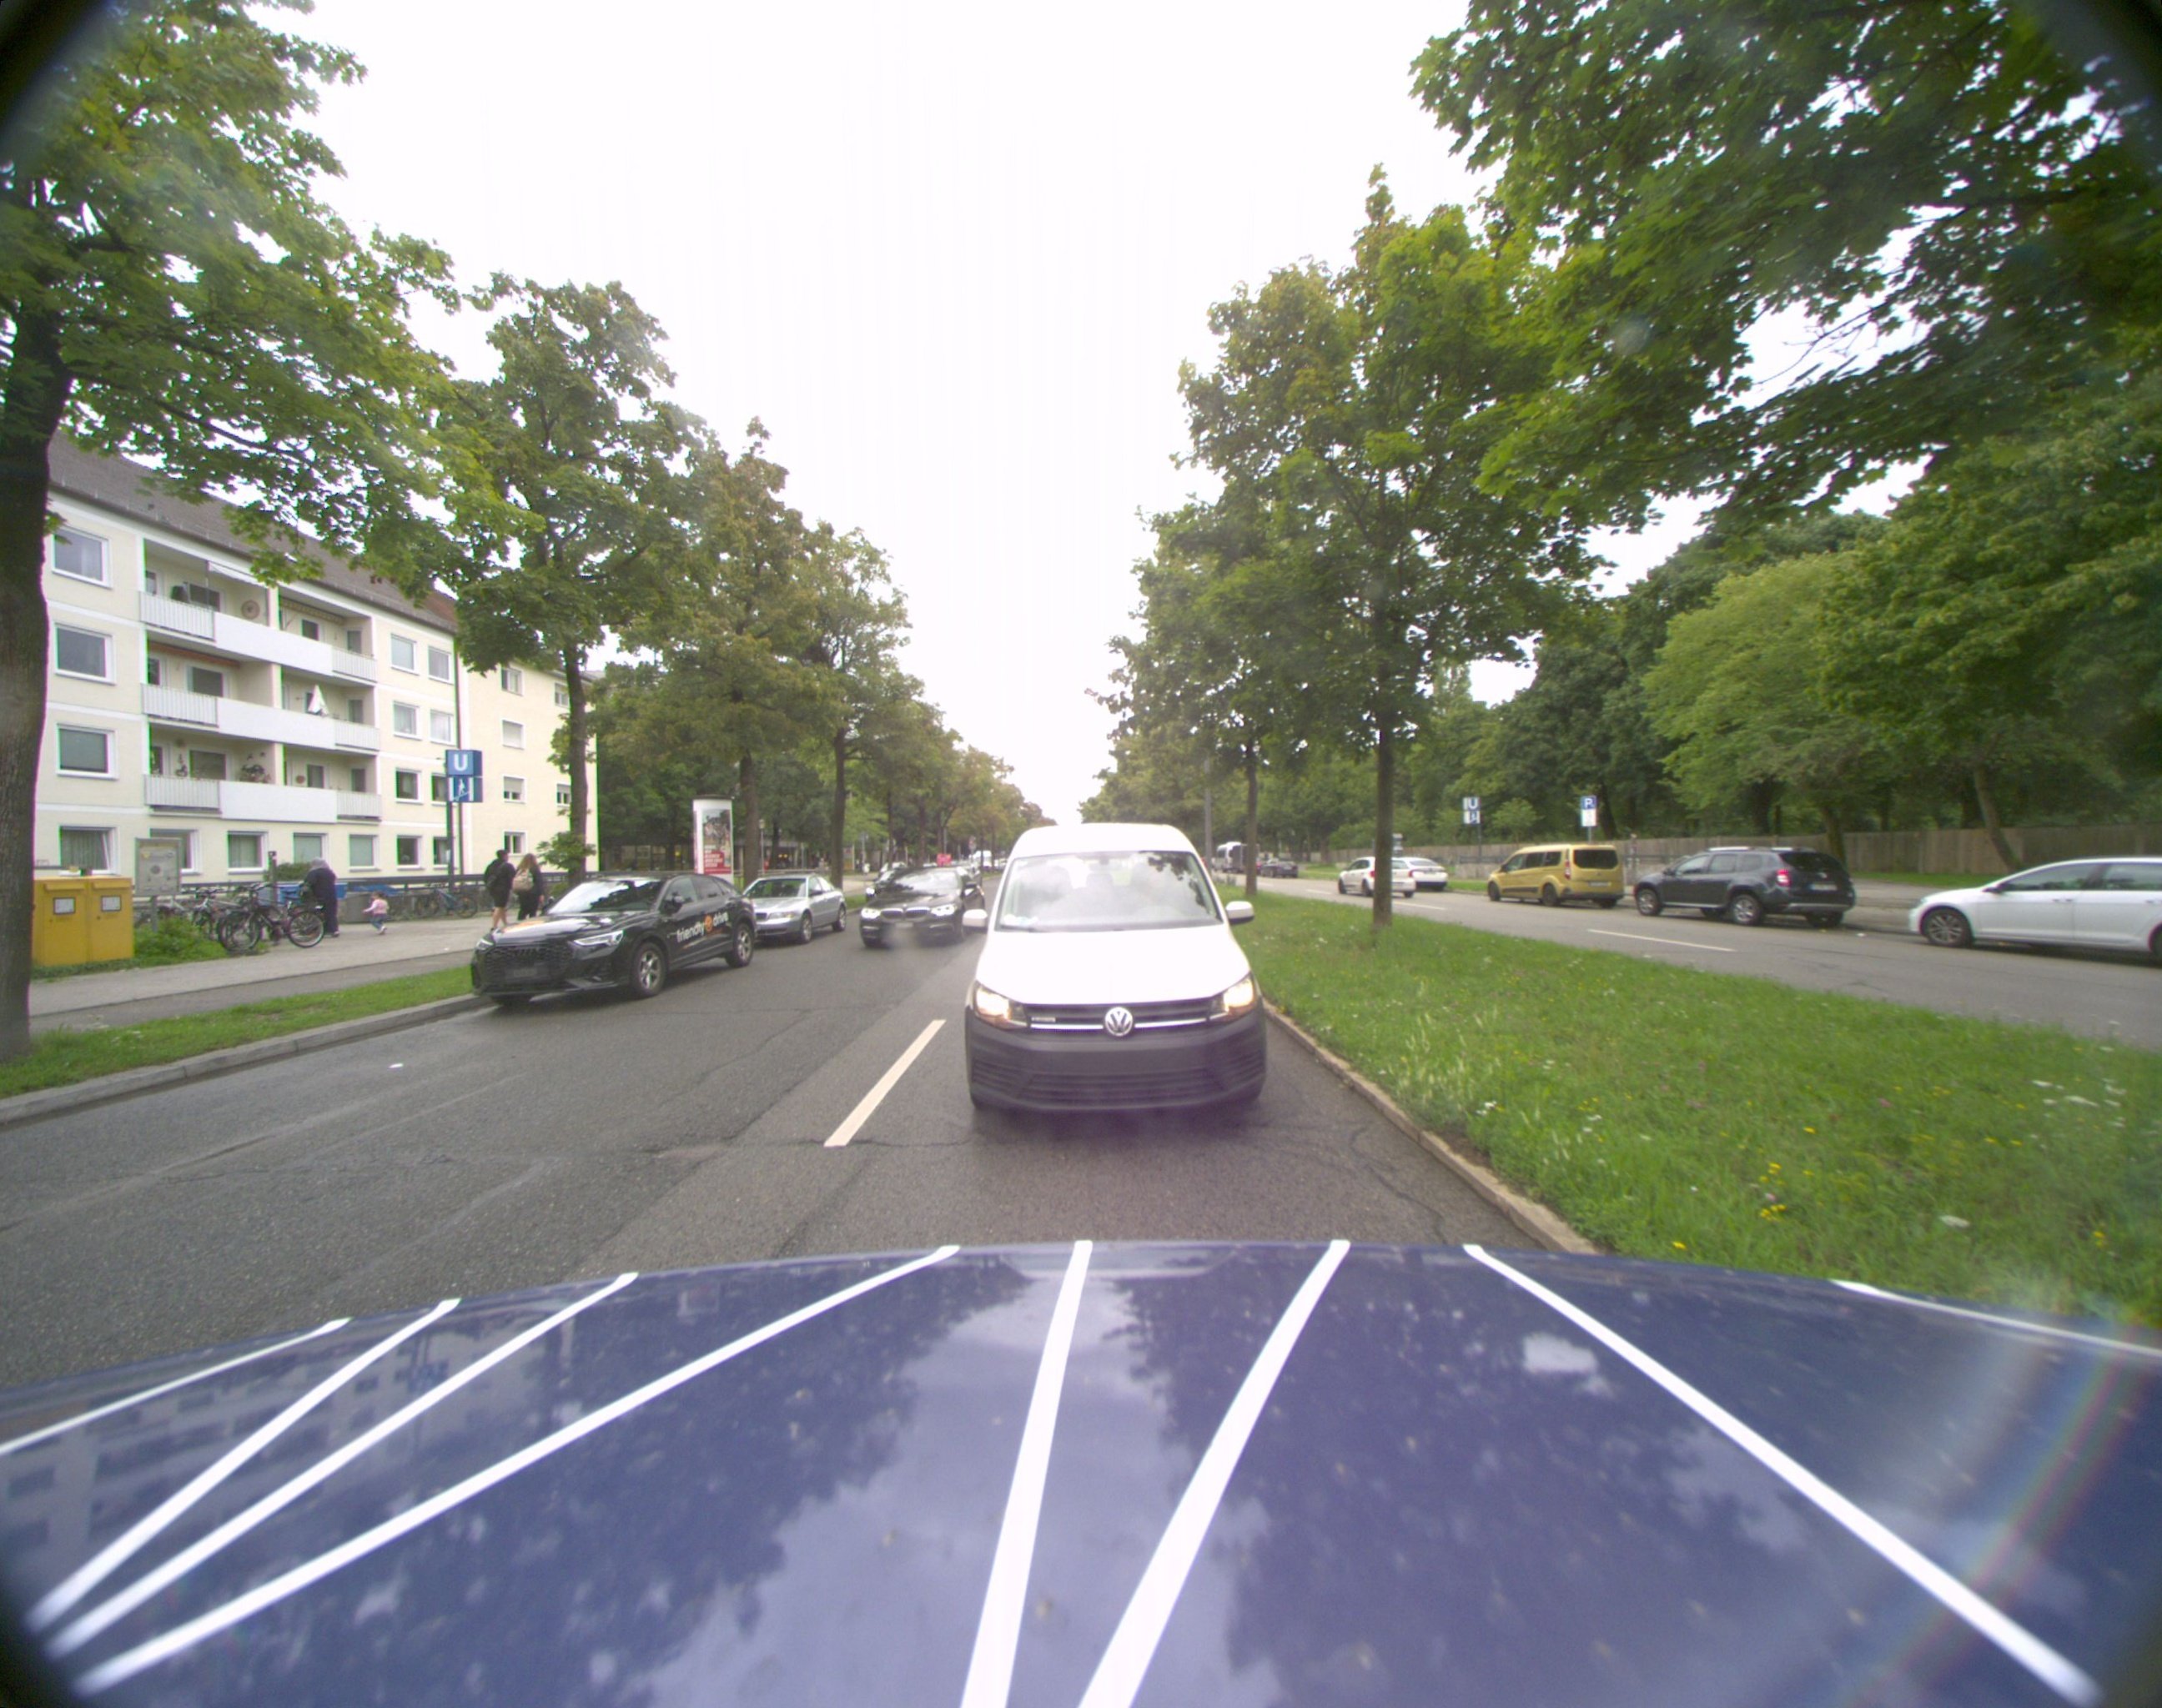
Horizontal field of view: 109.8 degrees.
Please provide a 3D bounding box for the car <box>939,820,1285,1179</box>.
[{"bbox_3d":[0.126,0.742,6.206,1.750,1.807,4.667,-1,0,-1],"label":"car"}]

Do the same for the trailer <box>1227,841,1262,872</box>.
[{"bbox_3d":[14.403,0.215,67.199,2.022,2.575,4.658,0,0,0],"label":"trailer"}]

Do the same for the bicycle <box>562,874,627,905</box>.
[{"bbox_3d":[-16.657,1.199,26.042,1.882,1.022,0.432,0,1,-3],"label":"bicycle"}]

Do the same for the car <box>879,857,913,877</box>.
[{"bbox_3d":[-16.325,1.113,67.351,1.826,1.624,4.198,0,0,2],"label":"car"}]

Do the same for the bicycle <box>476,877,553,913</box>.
[{"bbox_3d":[-16.676,1.214,22.389,1.882,1.022,0.432,0,1,-3],"label":"bicycle"}]

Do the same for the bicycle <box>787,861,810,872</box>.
[{"bbox_3d":[-29.040,1.288,78.096,2.080,1.114,0.455,-1,1,0],"label":"bicycle"}]

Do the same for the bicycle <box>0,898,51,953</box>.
[{"bbox_3d":[-21.102,1.411,14.448,0.432,1.022,1.883,0,0,1],"label":"bicycle"}]

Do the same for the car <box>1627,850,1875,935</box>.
[{"bbox_3d":[14.601,0.751,16.952,1.741,1.636,4.255,0,0,-1],"label":"car"}]

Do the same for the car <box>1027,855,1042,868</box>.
[{"bbox_3d":[-6.199,0.985,101.326,1.686,1.632,4.464,-4,0,0],"label":"car"}]

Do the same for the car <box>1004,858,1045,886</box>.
[{"bbox_3d":[-3.163,0.978,43.333,1.889,1.434,4.667,-3,0,1],"label":"car"}]

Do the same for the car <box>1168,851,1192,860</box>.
[{"bbox_3d":[17.707,0.274,136.171,4.006,1.358,1.588,-2,1,-30],"label":"car"}]

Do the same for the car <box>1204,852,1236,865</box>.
[{"bbox_3d":[18.204,0.588,99.426,4.006,1.477,1.797,-3,0,-34],"label":"car"}]

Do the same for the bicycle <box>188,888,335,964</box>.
[{"bbox_3d":[-13.834,1.184,12.915,0.432,1.127,1.884,0,0,1],"label":"bicycle"}]

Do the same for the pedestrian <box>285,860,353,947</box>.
[{"bbox_3d":[-15.331,0.968,15.294,0.832,1.671,0.843,0,1,39],"label":"pedestrian"}]

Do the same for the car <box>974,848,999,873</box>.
[{"bbox_3d":[-10.539,0.720,85.544,1.978,2.641,6.005,-3,0,0],"label":"car"}]

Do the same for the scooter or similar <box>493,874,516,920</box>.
[{"bbox_3d":[-15.882,1.157,20.934,0.359,1.193,1.386,-1,1,-42],"label":"scooter or similar"}]

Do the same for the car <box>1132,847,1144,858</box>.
[{"bbox_3d":[10.504,-0.247,141.133,1.804,1.922,4.993,0,0,-1],"label":"car"}]

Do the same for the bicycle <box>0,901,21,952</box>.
[{"bbox_3d":[-22.253,1.482,14.840,0.432,1.022,1.883,0,0,1],"label":"bicycle"}]

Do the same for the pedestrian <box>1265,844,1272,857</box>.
[{"bbox_3d":[26.532,-0.477,107.642,0.770,1.757,0.873,0,1,-4],"label":"pedestrian"}]

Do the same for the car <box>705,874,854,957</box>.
[{"bbox_3d":[-6.309,1.207,16.412,1.640,1.378,4.243,-3,0,-3],"label":"car"}]

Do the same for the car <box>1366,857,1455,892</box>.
[{"bbox_3d":[14.645,0.866,34.101,1.861,1.464,4.874,0,0,-1],"label":"car"}]

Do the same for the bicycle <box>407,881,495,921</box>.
[{"bbox_3d":[-16.554,1.233,19.977,1.882,1.022,0.432,0,1,-3],"label":"bicycle"}]

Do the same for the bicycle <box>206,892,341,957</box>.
[{"bbox_3d":[-14.740,1.258,13.941,0.432,1.022,1.883,0,0,1],"label":"bicycle"}]

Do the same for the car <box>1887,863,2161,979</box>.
[{"bbox_3d":[14.575,0.873,10.629,1.767,1.441,4.532,0,0,-1],"label":"car"}]

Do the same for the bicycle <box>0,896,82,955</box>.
[{"bbox_3d":[-20.175,1.347,14.229,0.432,1.022,1.883,0,0,1],"label":"bicycle"}]

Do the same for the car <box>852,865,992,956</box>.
[{"bbox_3d":[-3.069,1.035,15.726,1.799,1.434,4.667,-3,0,1],"label":"car"}]

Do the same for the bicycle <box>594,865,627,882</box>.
[{"bbox_3d":[-28.975,1.198,46.844,1.696,0.965,0.455,-1,0,-4],"label":"bicycle"}]

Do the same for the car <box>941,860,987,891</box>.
[{"bbox_3d":[-6.206,1.093,40.604,1.686,1.457,4.115,-3,0,1],"label":"car"}]

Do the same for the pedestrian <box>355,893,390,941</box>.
[{"bbox_3d":[-14.677,1.304,15.750,0.409,0.944,0.434,-1,1,-26],"label":"pedestrian"}]

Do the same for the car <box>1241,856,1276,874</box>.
[{"bbox_3d":[14.258,0.834,61.260,1.805,1.376,4.238,0,0,0],"label":"car"}]

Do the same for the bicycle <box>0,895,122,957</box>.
[{"bbox_3d":[-19.454,1.332,14.287,0.432,1.022,1.883,0,0,1],"label":"bicycle"}]

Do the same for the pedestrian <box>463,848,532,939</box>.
[{"bbox_3d":[-12.429,0.815,16.226,0.731,1.879,0.919,0,1,-1],"label":"pedestrian"}]

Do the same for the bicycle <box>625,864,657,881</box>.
[{"bbox_3d":[-27.193,1.139,46.986,1.696,0.965,0.455,-1,0,-4],"label":"bicycle"}]

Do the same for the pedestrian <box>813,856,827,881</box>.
[{"bbox_3d":[-17.981,0.983,52.347,0.641,1.739,0.849,0,0,-2],"label":"pedestrian"}]

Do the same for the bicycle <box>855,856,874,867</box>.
[{"bbox_3d":[-28.986,0.988,101.654,2.313,1.523,0.649,-1,1,0],"label":"bicycle"}]

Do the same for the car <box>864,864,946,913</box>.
[{"bbox_3d":[-6.067,1.146,26.679,1.755,1.457,4.176,-3,0,1],"label":"car"}]

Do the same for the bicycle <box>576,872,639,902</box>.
[{"bbox_3d":[-16.742,1.165,26.906,1.883,1.022,0.432,0,1,-6],"label":"bicycle"}]

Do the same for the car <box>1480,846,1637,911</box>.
[{"bbox_3d":[14.343,0.668,23.221,1.819,1.772,4.817,0,0,1],"label":"car"}]

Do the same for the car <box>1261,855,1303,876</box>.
[{"bbox_3d":[14.412,0.810,54.684,1.805,1.417,4.431,0,0,0],"label":"car"}]

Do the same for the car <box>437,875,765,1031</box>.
[{"bbox_3d":[-6.143,1.142,10.455,1.721,1.524,4.275,-3,0,0],"label":"car"}]

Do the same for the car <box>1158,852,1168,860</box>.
[{"bbox_3d":[16.601,0.402,153.962,1.889,1.435,4.169,-2,1,4],"label":"car"}]

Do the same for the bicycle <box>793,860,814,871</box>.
[{"bbox_3d":[-29.326,1.258,80.264,2.080,1.114,0.455,-1,1,0],"label":"bicycle"}]

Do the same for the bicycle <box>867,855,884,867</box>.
[{"bbox_3d":[-29.298,0.998,108.448,2.316,1.613,0.648,-1,1,-17],"label":"bicycle"}]

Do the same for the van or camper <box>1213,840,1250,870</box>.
[{"bbox_3d":[14.436,0.093,73.329,2.040,2.821,7.546,0,0,0],"label":"van or camper"}]

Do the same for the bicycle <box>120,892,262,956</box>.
[{"bbox_3d":[-16.667,1.281,14.304,0.432,1.022,1.883,0,0,1],"label":"bicycle"}]

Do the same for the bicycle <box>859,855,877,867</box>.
[{"bbox_3d":[-29.041,0.928,103.692,2.313,1.613,0.649,-1,1,0],"label":"bicycle"}]

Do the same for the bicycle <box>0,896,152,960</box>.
[{"bbox_3d":[-18.959,1.365,14.371,0.432,1.022,1.883,0,0,1],"label":"bicycle"}]

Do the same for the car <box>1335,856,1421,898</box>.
[{"bbox_3d":[10.766,0.794,27.851,1.622,1.367,3.837,1,0,0],"label":"car"}]

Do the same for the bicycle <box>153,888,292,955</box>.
[{"bbox_3d":[-15.964,1.218,14.207,0.432,1.095,1.883,0,0,1],"label":"bicycle"}]

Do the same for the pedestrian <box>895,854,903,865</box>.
[{"bbox_3d":[-27.868,0.899,116.347,0.872,1.689,0.771,0,2,14],"label":"pedestrian"}]

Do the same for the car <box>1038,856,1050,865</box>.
[{"bbox_3d":[-6.089,1.038,124.089,1.735,1.498,4.441,-3,0,-1],"label":"car"}]

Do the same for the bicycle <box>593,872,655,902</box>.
[{"bbox_3d":[-16.509,1.188,27.465,1.883,1.022,0.432,0,1,-8],"label":"bicycle"}]

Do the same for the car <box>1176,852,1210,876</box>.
[{"bbox_3d":[8.214,0.712,56.109,1.908,1.686,4.245,1,0,1],"label":"car"}]

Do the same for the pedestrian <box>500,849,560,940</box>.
[{"bbox_3d":[-11.756,0.836,16.234,0.589,1.879,0.902,-1,1,-1],"label":"pedestrian"}]

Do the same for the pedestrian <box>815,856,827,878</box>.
[{"bbox_3d":[-21.088,1.070,61.649,0.600,1.720,0.642,-2,1,20],"label":"pedestrian"}]
